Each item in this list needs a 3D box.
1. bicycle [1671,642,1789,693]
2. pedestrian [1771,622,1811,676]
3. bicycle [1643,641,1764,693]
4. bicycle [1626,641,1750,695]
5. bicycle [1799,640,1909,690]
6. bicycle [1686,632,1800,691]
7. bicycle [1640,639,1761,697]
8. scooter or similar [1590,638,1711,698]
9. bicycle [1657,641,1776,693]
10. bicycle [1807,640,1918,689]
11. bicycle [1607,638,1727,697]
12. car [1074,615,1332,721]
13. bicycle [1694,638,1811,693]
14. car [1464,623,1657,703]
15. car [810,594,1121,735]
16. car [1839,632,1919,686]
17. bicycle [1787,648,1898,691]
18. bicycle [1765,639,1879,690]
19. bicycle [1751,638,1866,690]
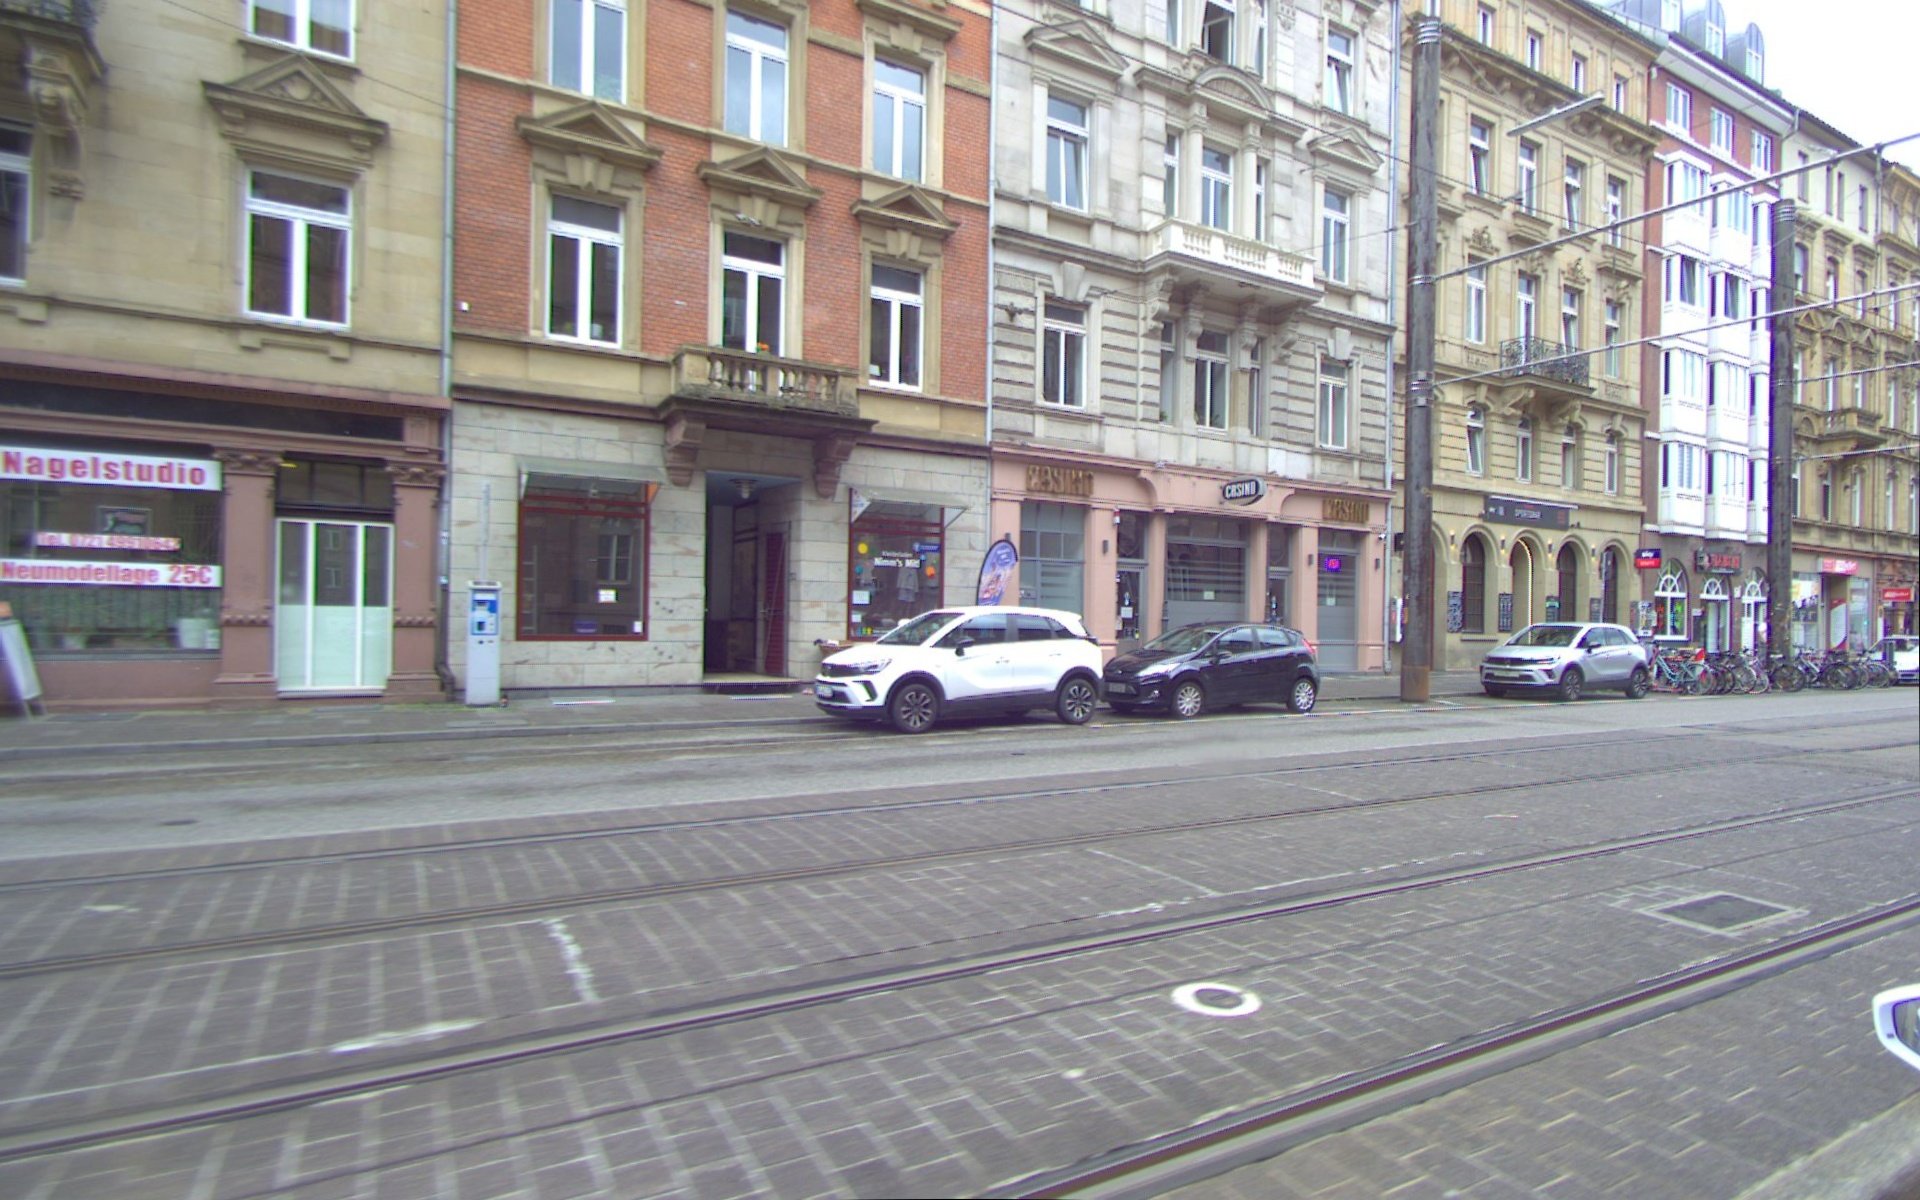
[{"bbox_3d":[19.336,1.675,25.280,0.658,1.219,2.273,1,-3,-29],"label":"bicycle"},{"bbox_3d":[28.466,1.680,34.424,0.769,1.806,0.655,2,0,7],"label":"pedestrian"},{"bbox_3d":[18.088,1.608,24.496,0.696,1.219,2.273,1,-3,-29],"label":"bicycle"},{"bbox_3d":[17.089,1.574,23.650,0.696,1.219,2.273,1,-3,-29],"label":"bicycle"},{"bbox_3d":[25.273,1.813,28.450,0.515,1.346,2.273,1,-3,-29],"label":"bicycle"},{"bbox_3d":[19.881,1.542,25.568,0.443,1.311,2.272,1,1,-29],"label":"bicycle"},{"bbox_3d":[17.619,1.595,23.965,0.534,1.219,2.272,3,0,-29],"label":"bicycle"},{"bbox_3d":[15.870,1.530,23.163,0.541,1.219,2.272,1,0,-29],"label":"scooter or similar"},{"bbox_3d":[18.728,1.636,24.922,0.658,1.219,2.273,1,-3,-29],"label":"bicycle"},{"bbox_3d":[25.867,1.821,28.851,0.658,1.346,2.273,1,-3,-29],"label":"bicycle"},{"bbox_3d":[16.437,1.549,23.432,0.541,1.219,2.272,1,0,-29],"label":"bicycle"},{"bbox_3d":[3.895,1.026,16.014,3.873,1.508,1.736,1,-2,-29],"label":"car"},{"bbox_3d":[20.402,1.660,25.911,0.658,1.346,2.273,1,-3,-29],"label":"bicycle"},{"bbox_3d":[12.722,1.281,21.231,4.176,1.553,1.735,1,-2,-31],"label":"car"},{"bbox_3d":[0.116,0.841,13.874,3.999,1.694,1.735,1,-2,-31],"label":"car"},{"bbox_3d":[28.168,1.730,30.018,3.875,1.508,1.735,1,-2,-31],"label":"car"},{"bbox_3d":[24.759,1.938,28.241,0.612,1.055,2.272,1,-1,-29],"label":"bicycle"},{"bbox_3d":[23.605,1.744,27.572,0.658,1.346,2.273,1,-3,-29],"label":"bicycle"},{"bbox_3d":[22.893,1.707,27.169,0.658,1.346,2.273,1,-3,-29],"label":"bicycle"}]
